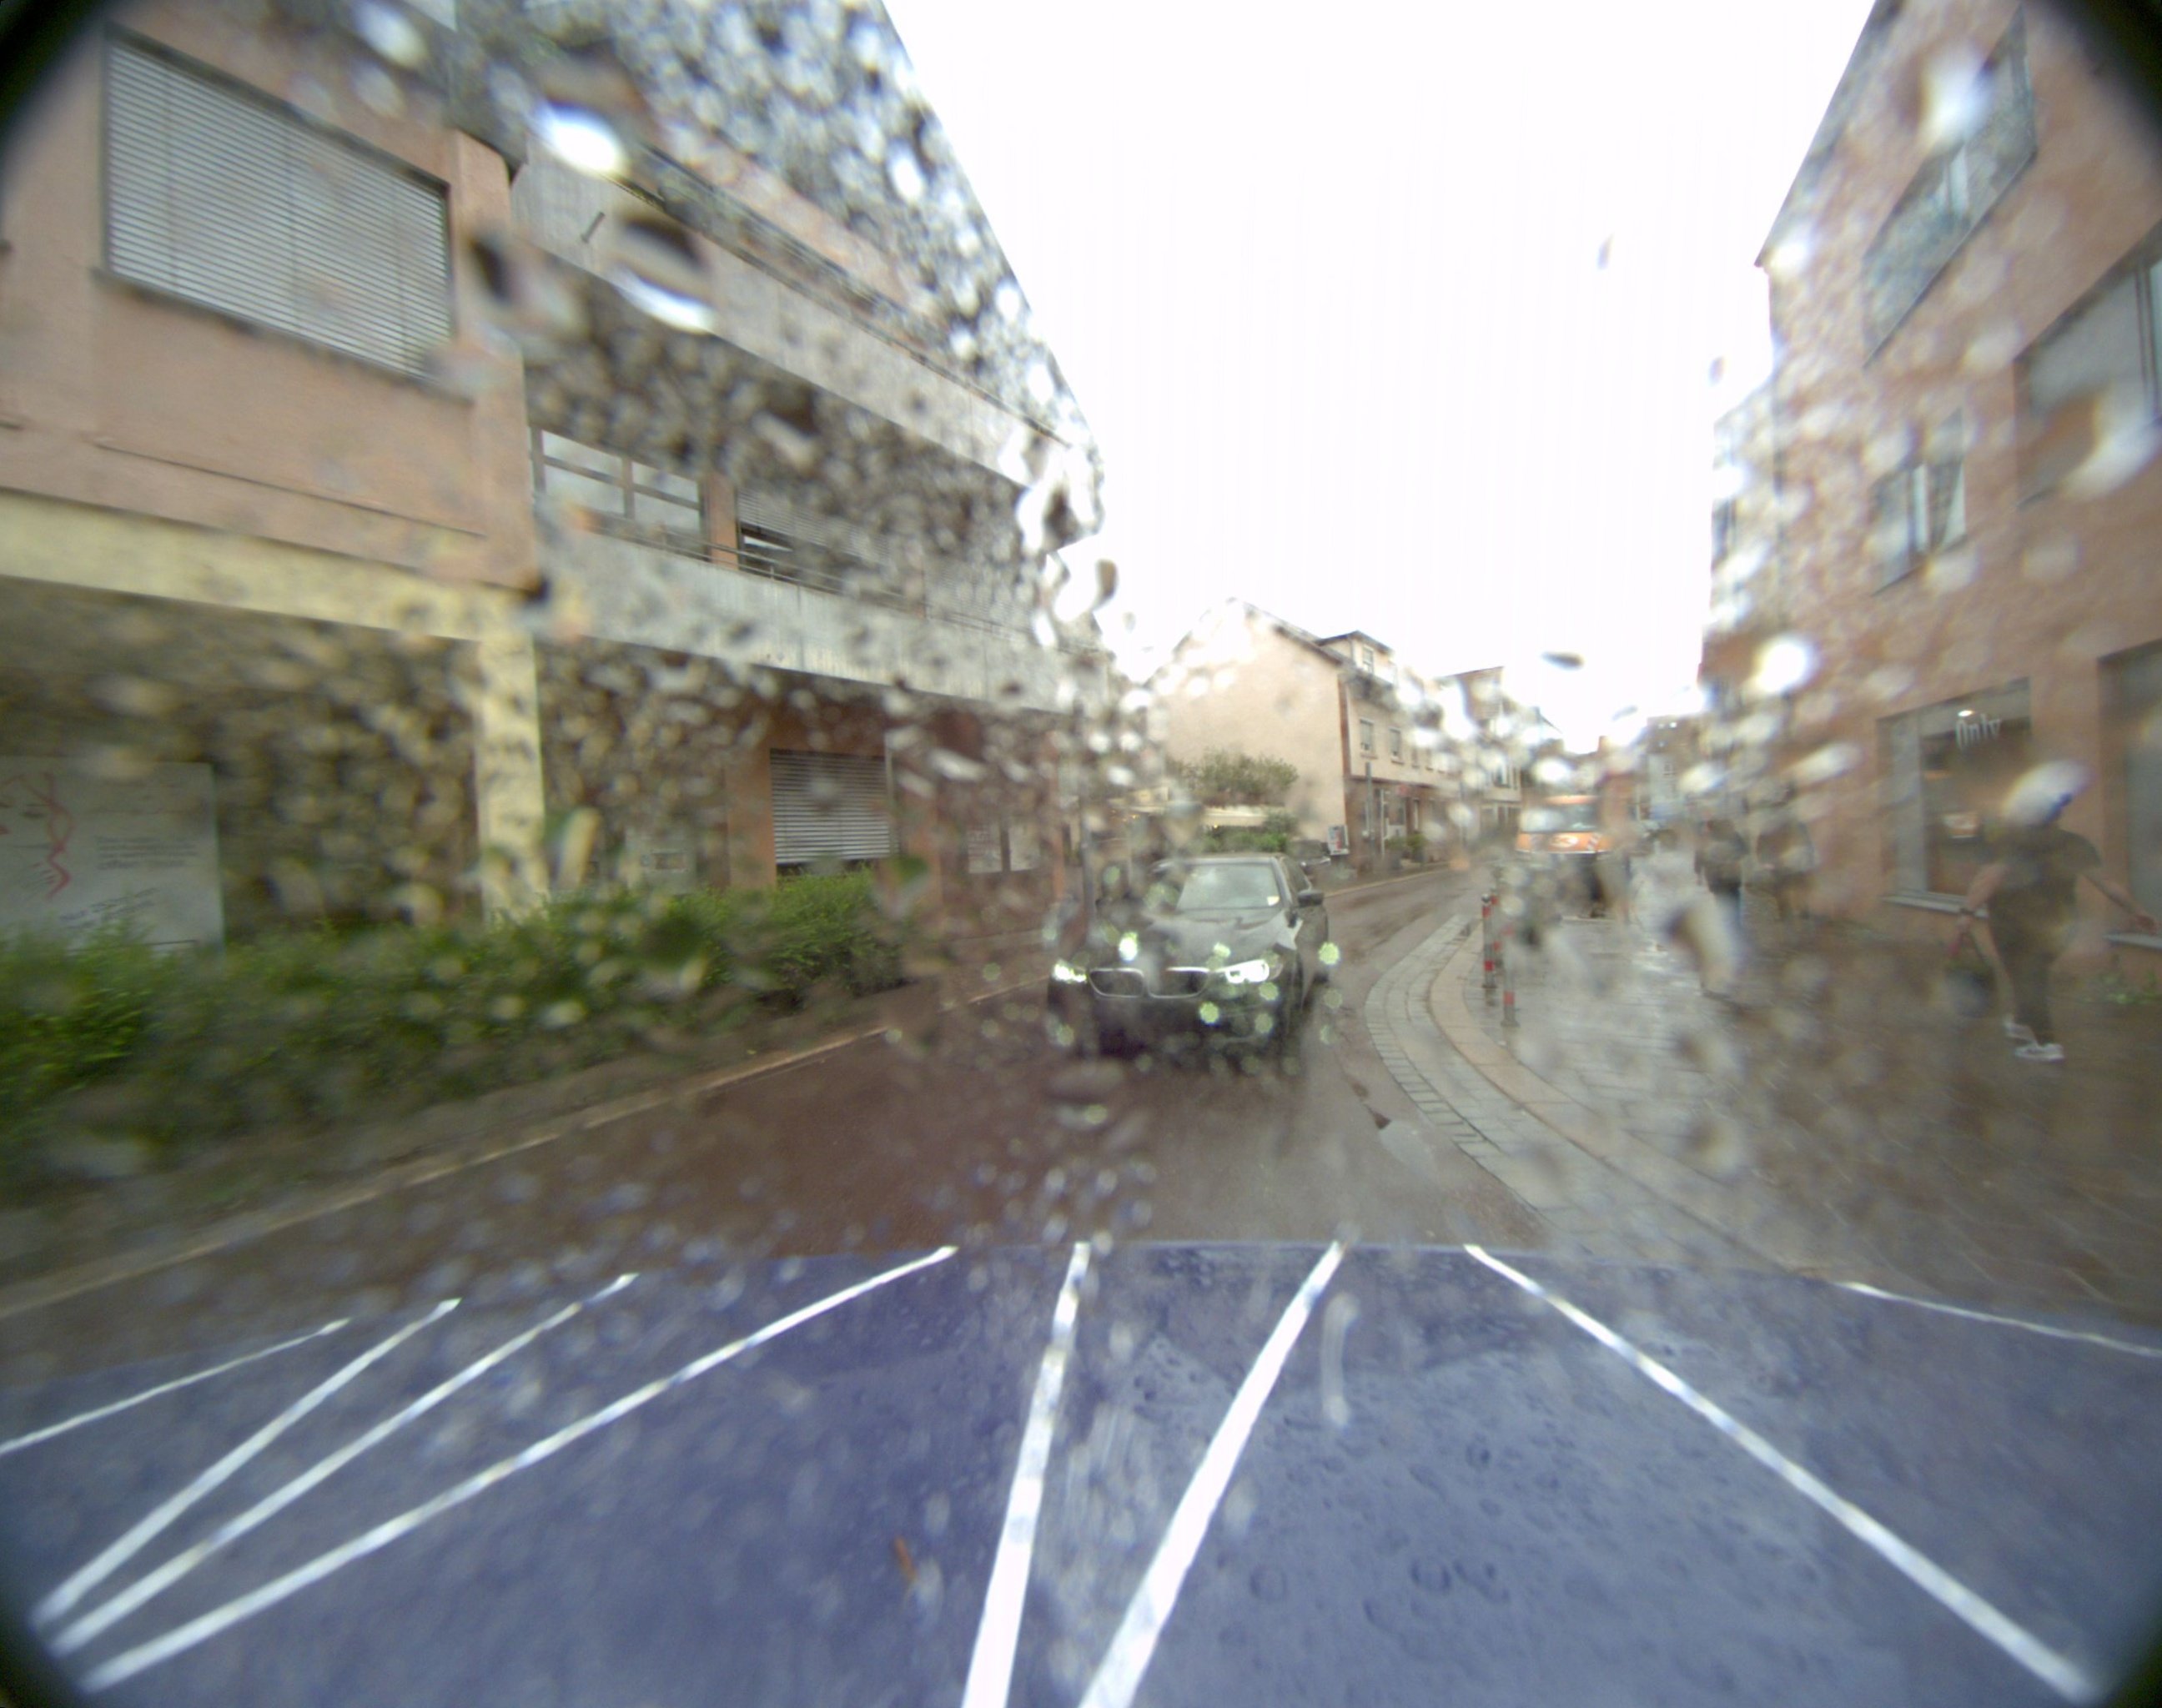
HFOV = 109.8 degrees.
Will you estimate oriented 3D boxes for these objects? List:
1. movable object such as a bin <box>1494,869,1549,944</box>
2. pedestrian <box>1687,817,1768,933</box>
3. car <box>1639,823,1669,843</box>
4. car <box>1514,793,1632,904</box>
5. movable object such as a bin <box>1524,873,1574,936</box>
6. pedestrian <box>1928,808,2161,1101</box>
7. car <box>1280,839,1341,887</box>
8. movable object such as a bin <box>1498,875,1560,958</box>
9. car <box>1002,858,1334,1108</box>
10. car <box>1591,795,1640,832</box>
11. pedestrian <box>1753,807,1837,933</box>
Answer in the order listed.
[{"bbox_3d":[6.460,0.755,11.160,0.657,1.031,0.611,-2,1,29],"label":"movable object such as a bin"},{"bbox_3d":[9.524,0.300,11.230,0.715,1.630,0.747,-4,1,30],"label":"pedestrian"},{"bbox_3d":[42.375,-1.566,56.186,1.628,1.359,3.495,-3,0,39],"label":"car"},{"bbox_3d":[11.961,-0.201,18.251,1.994,2.227,5.871,-2,1,36],"label":"car"},{"bbox_3d":[7.356,0.786,11.943,0.582,0.922,0.482,-2,1,38],"label":"movable object such as a bin"},{"bbox_3d":[5.780,0.554,4.587,0.660,1.600,0.685,-2,1,28],"label":"pedestrian"},{"bbox_3d":[7.453,0.247,24.874,1.736,1.349,3.940,-2,1,15],"label":"car"},{"bbox_3d":[5.934,0.813,10.081,0.657,1.031,0.611,-2,1,29],"label":"movable object such as a bin"},{"bbox_3d":[1.191,0.853,7.105,1.944,1.394,4.425,-3,1,22],"label":"car"},{"bbox_3d":[46.350,-3.440,65.742,2.705,2.857,8.861,-3,0,40],"label":"car"},{"bbox_3d":[10.163,0.219,10.844,0.623,1.702,0.810,-4,1,31],"label":"pedestrian"}]
